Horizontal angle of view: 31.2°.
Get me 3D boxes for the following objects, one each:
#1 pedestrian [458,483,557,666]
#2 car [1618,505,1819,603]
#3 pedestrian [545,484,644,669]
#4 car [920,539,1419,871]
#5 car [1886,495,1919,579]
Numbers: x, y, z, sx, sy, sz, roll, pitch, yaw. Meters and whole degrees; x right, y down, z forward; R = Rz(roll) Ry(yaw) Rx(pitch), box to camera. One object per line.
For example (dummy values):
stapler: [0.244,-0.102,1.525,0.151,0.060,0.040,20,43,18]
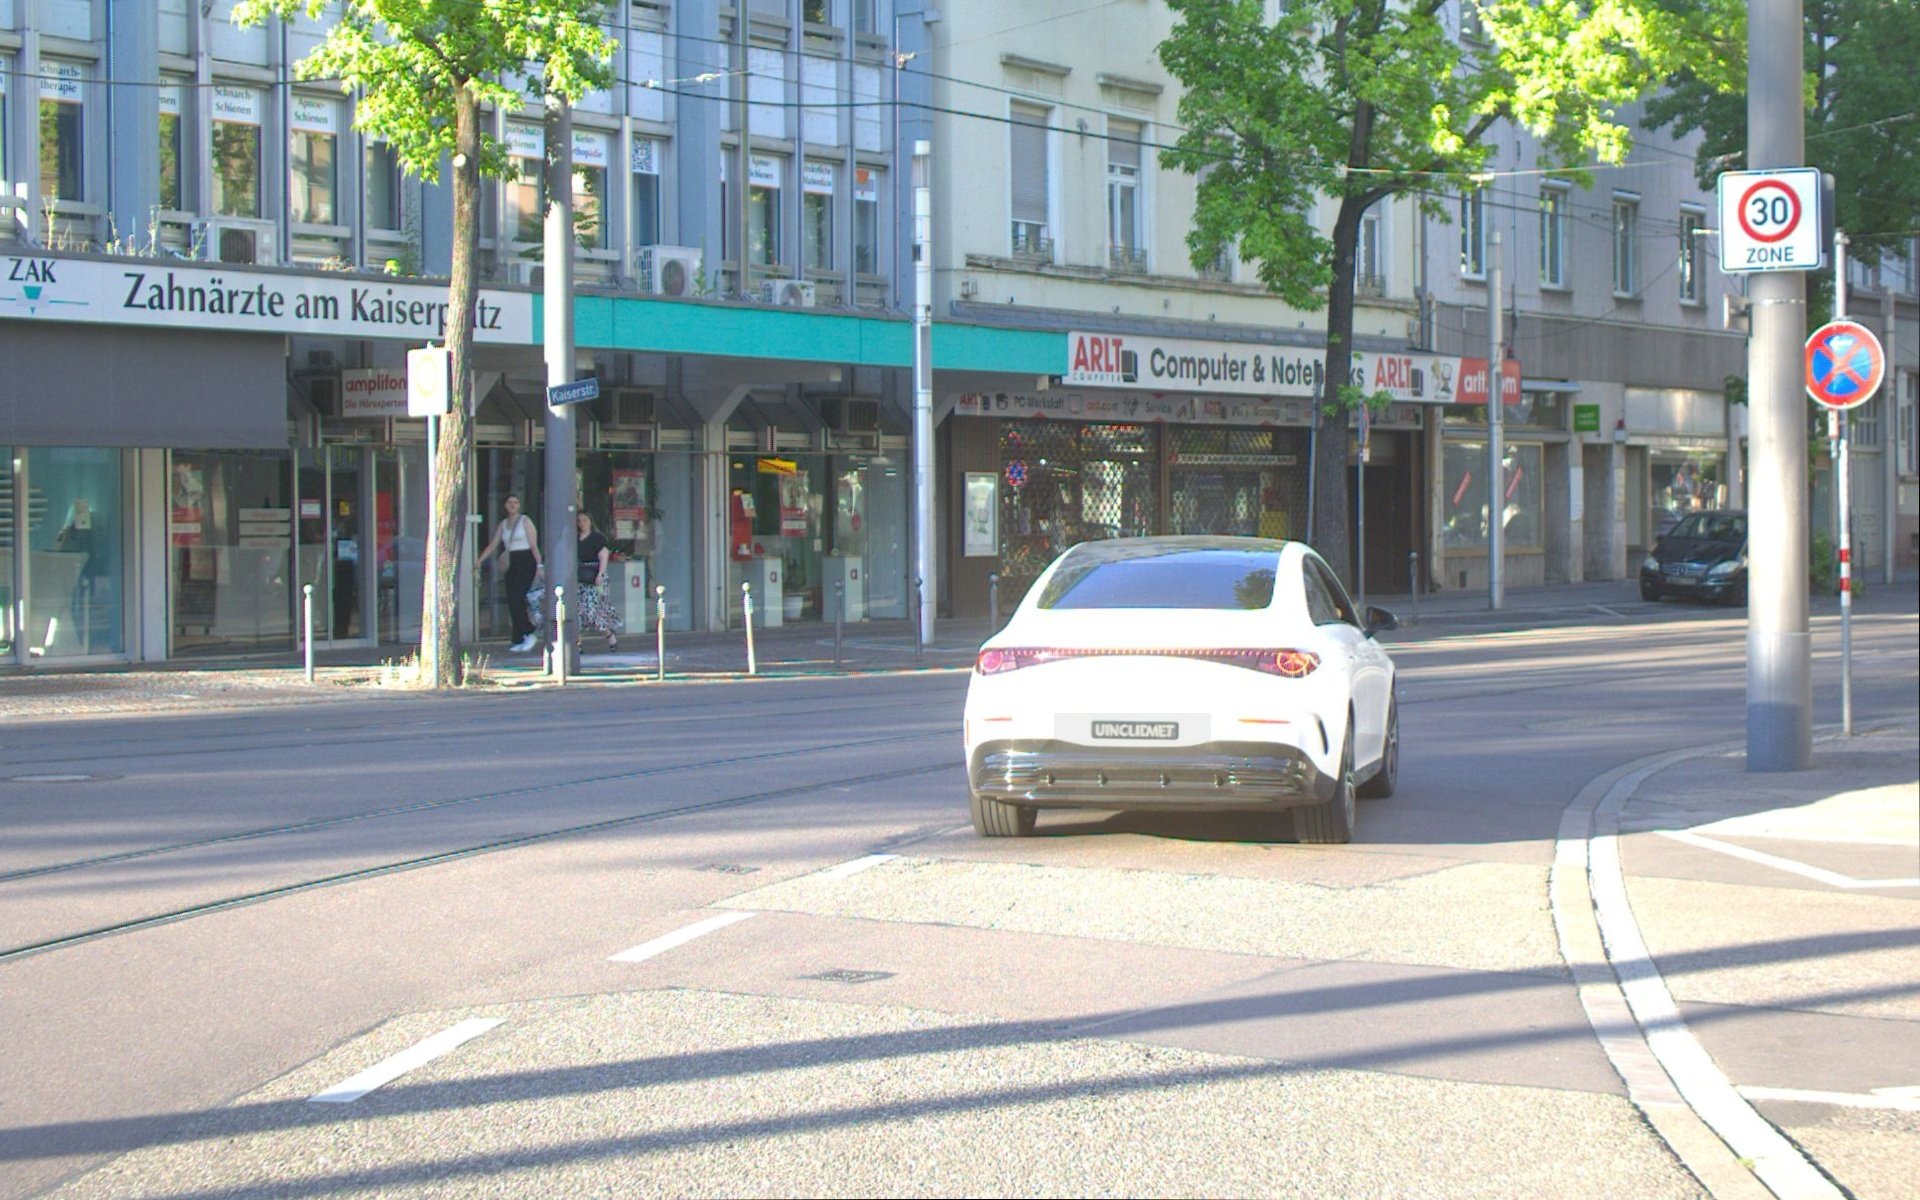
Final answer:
pedestrian: [-5.049,-0.292,38.380,0.798,2.007,0.732,1,1,36]
car: [13.150,-0.817,59.473,1.966,1.634,3.992,1,2,36]
pedestrian: [-4.042,-0.267,38.001,0.798,2.007,0.732,1,1,36]
car: [1.193,0.430,17.517,1.869,1.464,4.040,0,1,13]
car: [20.618,-1.254,69.675,1.966,1.634,4.803,4,4,35]
